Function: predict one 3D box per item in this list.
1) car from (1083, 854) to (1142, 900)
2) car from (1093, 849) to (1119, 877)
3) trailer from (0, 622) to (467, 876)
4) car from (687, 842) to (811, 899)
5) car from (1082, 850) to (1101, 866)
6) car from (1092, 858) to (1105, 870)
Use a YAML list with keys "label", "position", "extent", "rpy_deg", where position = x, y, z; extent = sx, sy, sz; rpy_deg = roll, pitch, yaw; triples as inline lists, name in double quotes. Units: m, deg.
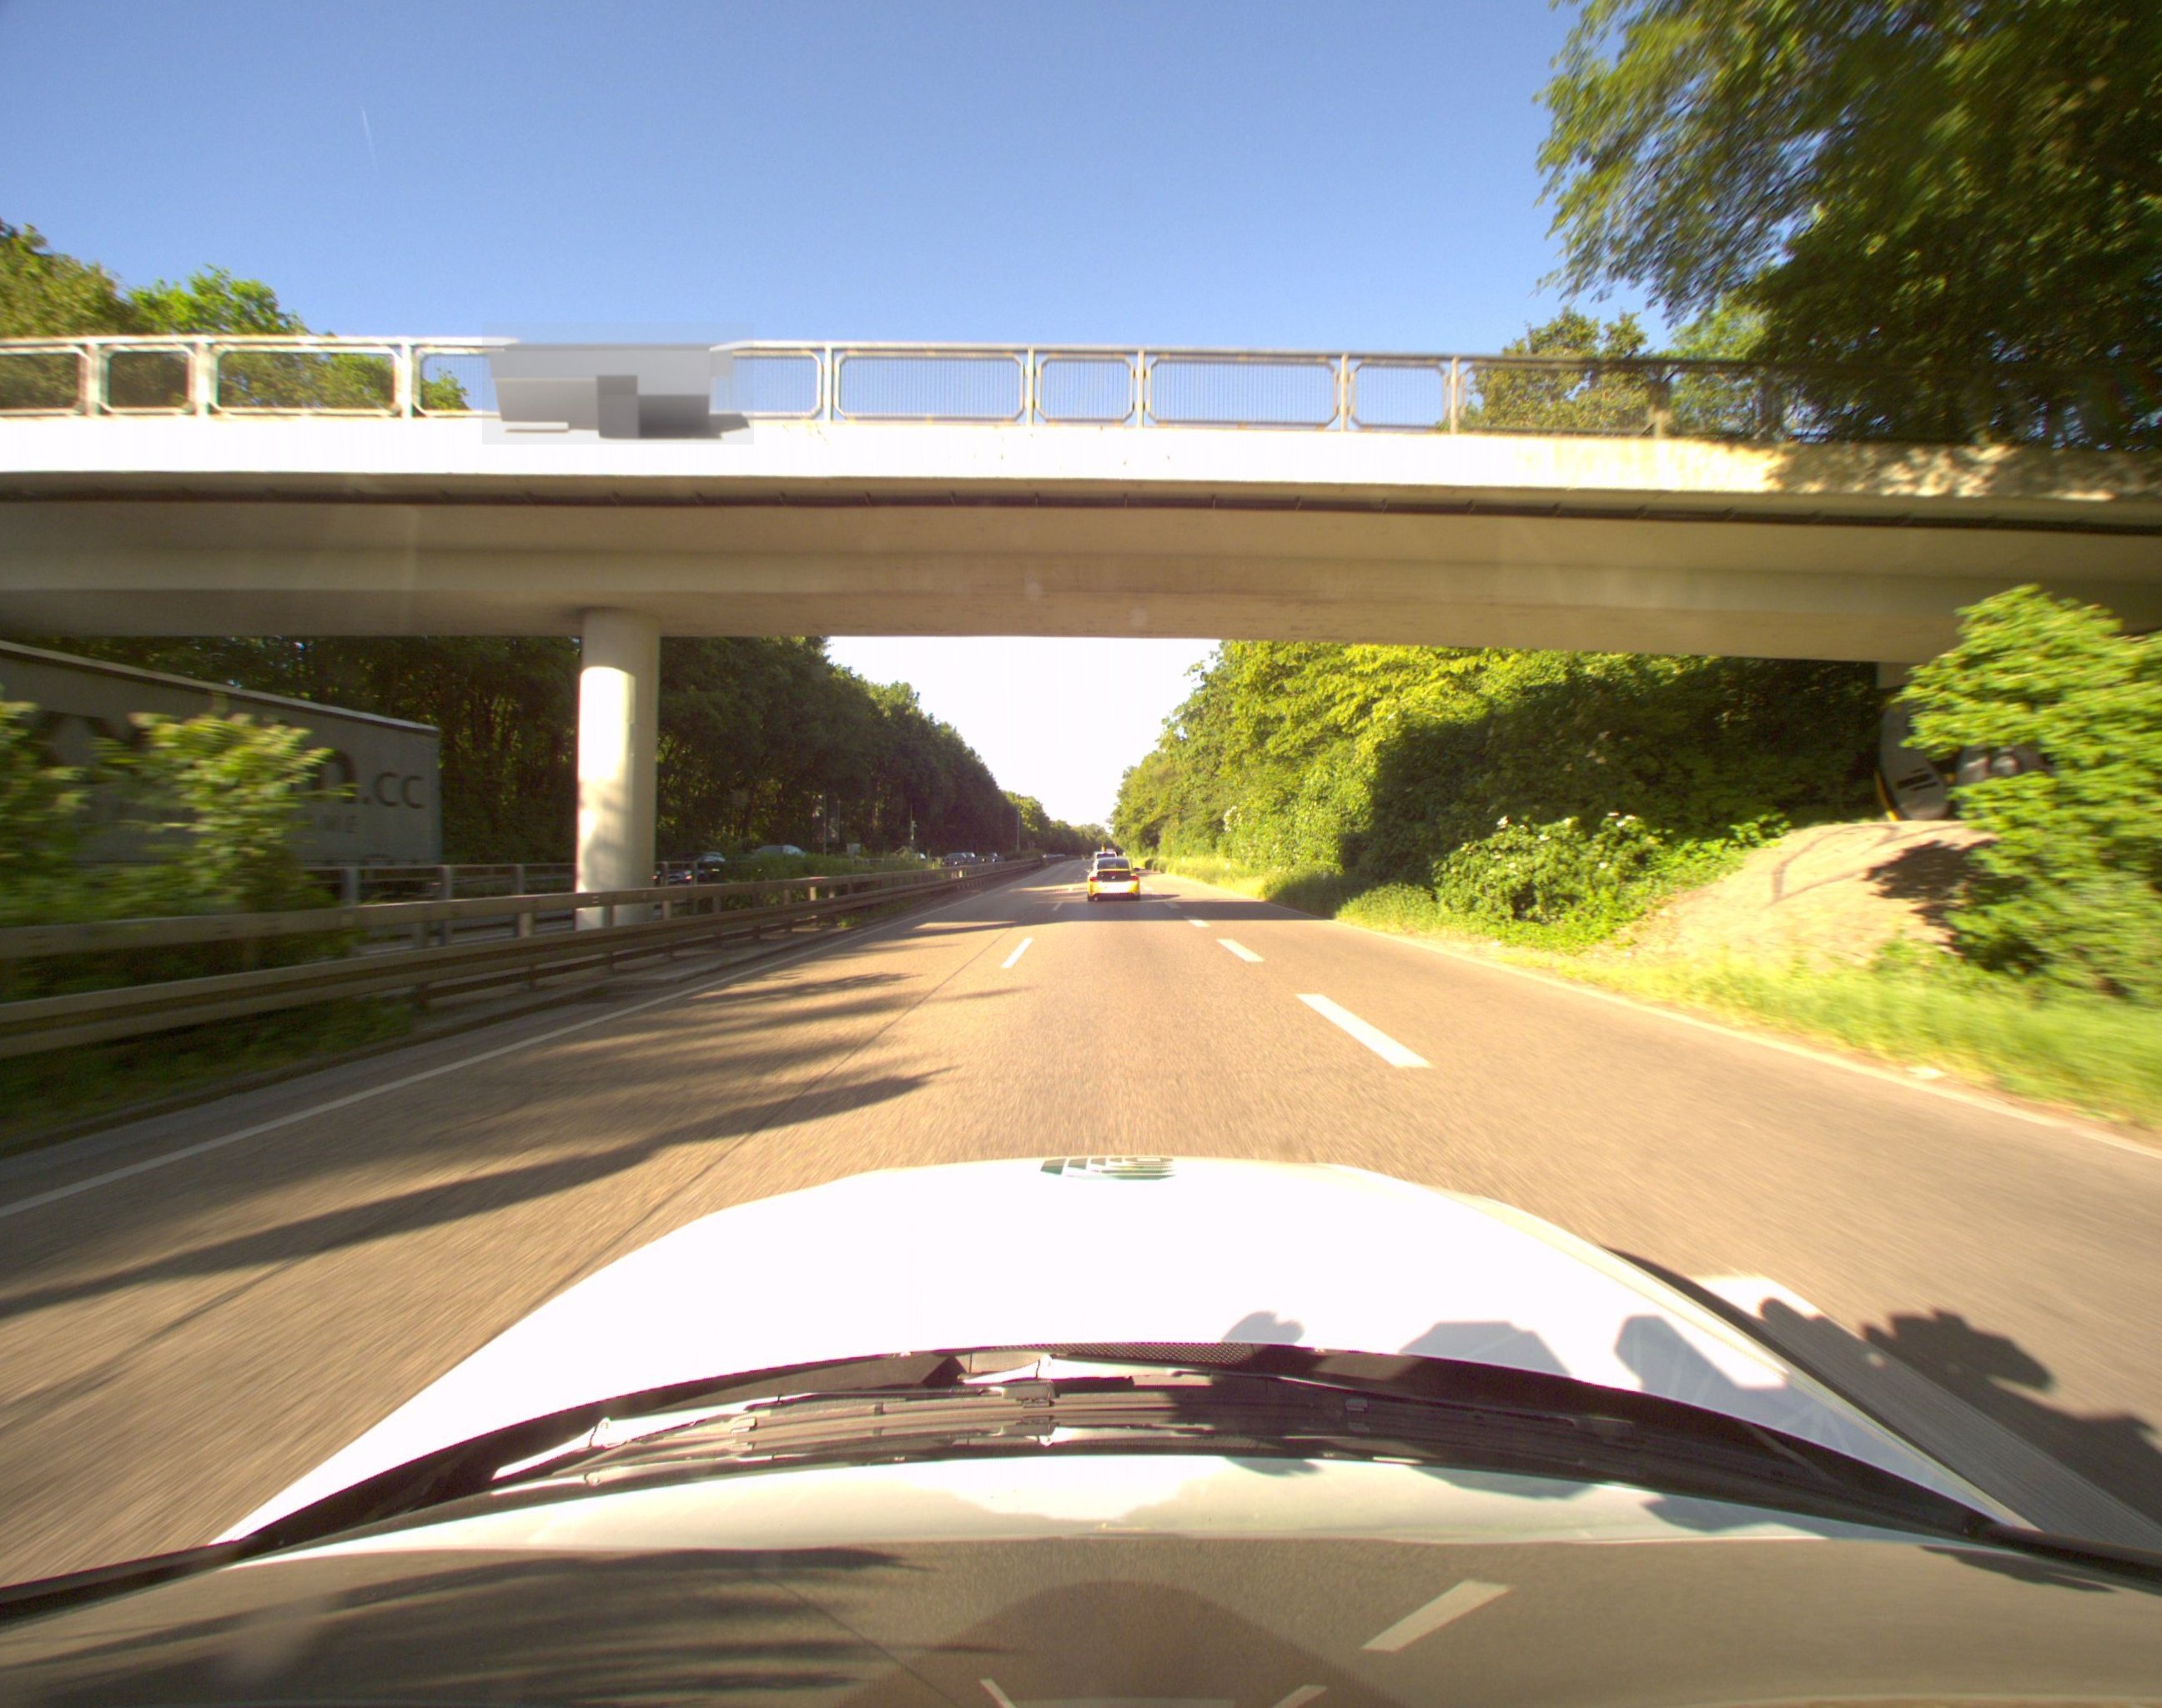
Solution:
- label: "car"
  position: [1.166, 0.761, 28.394]
  extent: [1.930, 1.508, 3.426]
  rpy_deg: [0, 0, 4]
- label: "car"
  position: [1.678, 0.623, 56.387]
  extent: [1.735, 1.830, 3.422]
  rpy_deg: [0, 0, 0]
- label: "trailer"
  position: [-14.908, -1.291, 11.597]
  extent: [2.918, 3.168, 11.921]
  rpy_deg: [0, 0, 2]
- label: "car"
  position: [-10.644, 0.498, 26.575]
  extent: [1.986, 1.687, 4.742]
  rpy_deg: [0, 0, 1]
- label: "car"
  position: [1.060, 0.426, 81.462]
  extent: [1.932, 1.545, 3.423]
  rpy_deg: [0, 0, 1]
- label: "car"
  position: [2.688, 1.452, 123.724]
  extent: [1.986, 1.750, 4.373]
  rpy_deg: [0, 0, 1]
